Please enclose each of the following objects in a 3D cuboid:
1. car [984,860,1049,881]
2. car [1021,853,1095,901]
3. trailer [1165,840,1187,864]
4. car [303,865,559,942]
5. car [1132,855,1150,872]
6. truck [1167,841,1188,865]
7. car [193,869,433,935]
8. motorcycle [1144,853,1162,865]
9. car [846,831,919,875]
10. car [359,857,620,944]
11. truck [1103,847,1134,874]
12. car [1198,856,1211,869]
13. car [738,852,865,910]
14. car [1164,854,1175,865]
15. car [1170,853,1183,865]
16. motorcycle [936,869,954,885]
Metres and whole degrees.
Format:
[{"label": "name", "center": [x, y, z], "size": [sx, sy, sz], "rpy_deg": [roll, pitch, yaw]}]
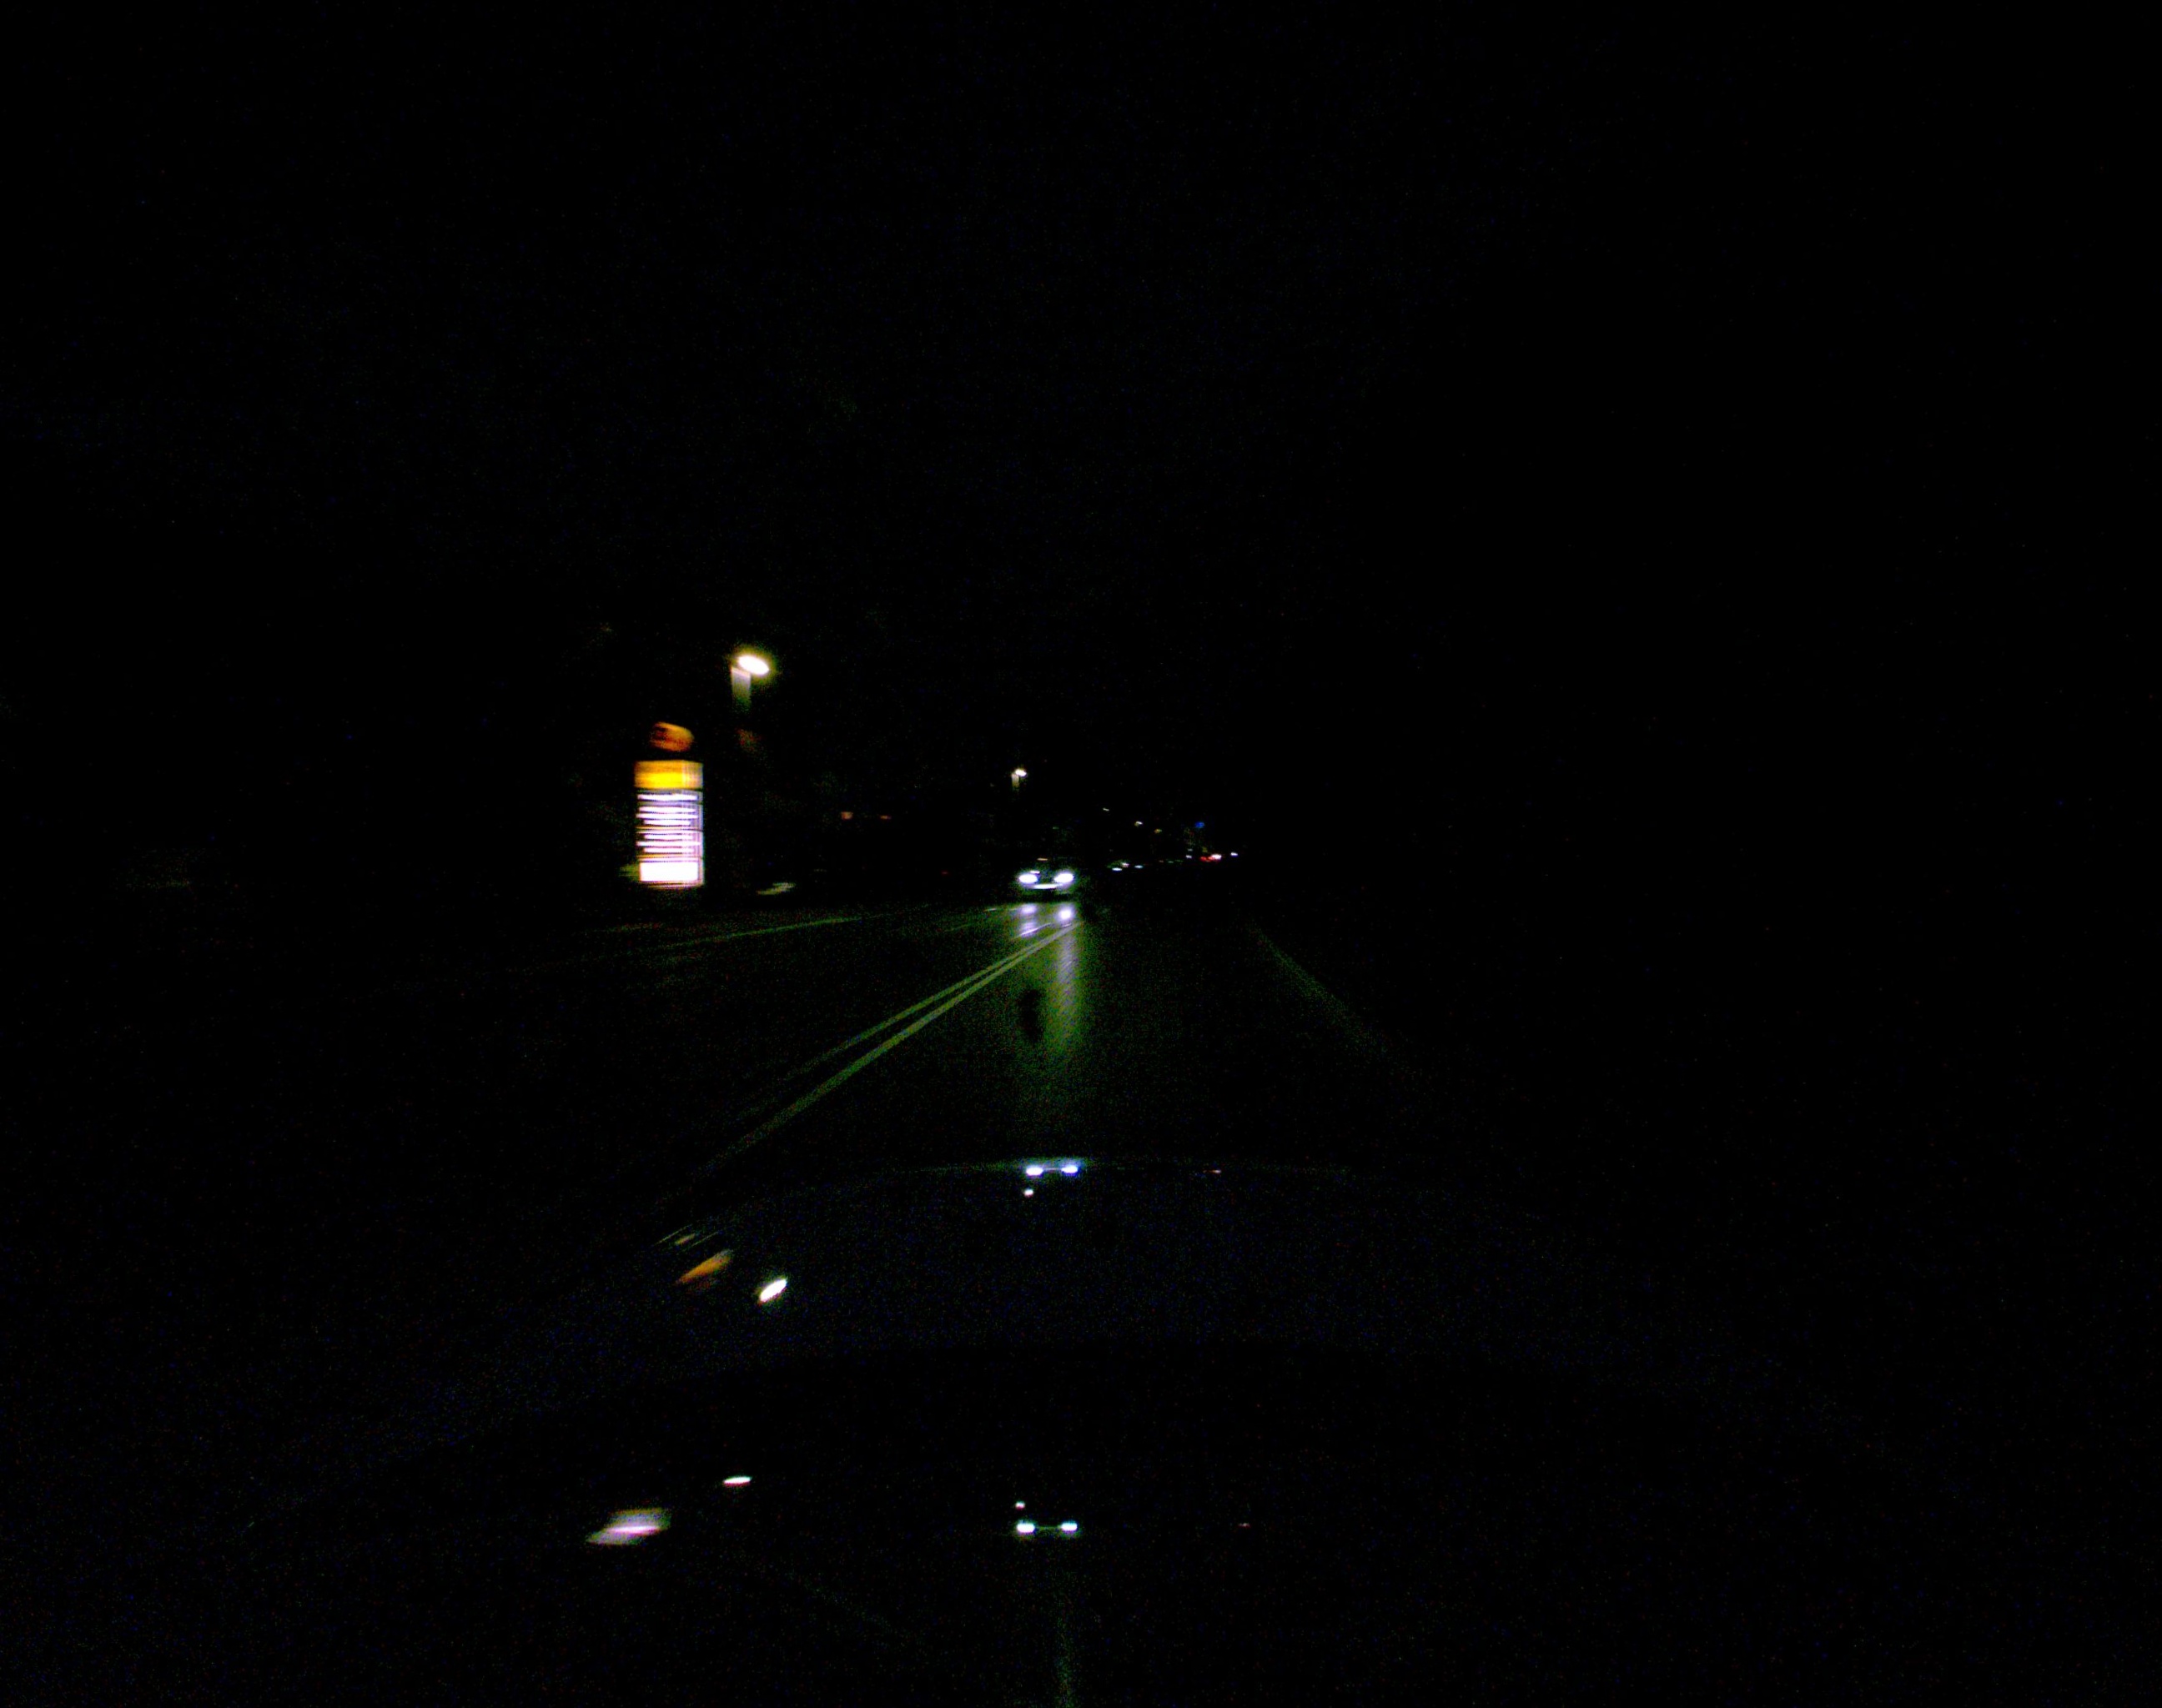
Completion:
[{"label": "car", "center": [-4.526, 1.158, 57.758], "size": [4.326, 1.359, 1.645], "rpy_deg": [-1, -1, 6]}, {"label": "car", "center": [-0.799, 0.810, 30.921], "size": [1.743, 1.607, 4.467], "rpy_deg": [-2, 0, 12]}, {"label": "trailer", "center": [20.753, -0.425, 178.522], "size": [3.826, 4.890, 10.815], "rpy_deg": [1, 2, 2]}, {"label": "car", "center": [-12.895, 0.907, 16.418], "size": [1.530, 1.311, 3.721], "rpy_deg": [0, 0, 27]}, {"label": "car", "center": [6.142, 0.963, 83.232], "size": [1.709, 1.618, 3.843], "rpy_deg": [-2, 0, 4]}, {"label": "truck", "center": [20.576, -0.282, 173.493], "size": [3.826, 4.890, 6.357], "rpy_deg": [1, 2, 2]}, {"label": "car", "center": [-15.548, 0.906, 16.657], "size": [1.530, 1.131, 3.232], "rpy_deg": [0, 0, 26]}, {"label": "motorcycle", "center": [13.109, 0.897, 148.712], "size": [1.305, 2.013, 4.026], "rpy_deg": [2, 2, 37]}, {"label": "car", "center": [-9.606, -0.110, 39.770], "size": [1.981, 2.013, 4.012], "rpy_deg": [2, 2, 10]}, {"label": "car", "center": [-11.011, 0.769, 15.458], "size": [1.530, 1.420, 3.721], "rpy_deg": [0, 0, 26]}, {"label": "truck", "center": [3.259, 0.555, 69.009], "size": [2.237, 2.129, 5.989], "rpy_deg": [-2, 0, 5]}, {"label": "car", "center": [20.539, 1.412, 135.403], "size": [1.983, 2.013, 4.009], "rpy_deg": [-4, 1, 7]}, {"label": "car", "center": [-8.391, 0.753, 24.880], "size": [1.745, 1.607, 4.463], "rpy_deg": [0, 0, 9]}, {"label": "car", "center": [14.776, 0.947, 135.654], "size": [1.717, 1.739, 3.812], "rpy_deg": [-1, -1, 4]}, {"label": "car", "center": [17.349, 0.919, 147.920], "size": [1.985, 1.897, 4.004], "rpy_deg": [-2, 1, 3]}, {"label": "motorcycle", "center": [-9.750, 1.636, 58.334], "size": [0.982, 1.144, 1.848], "rpy_deg": [0, 0, -1]}]
